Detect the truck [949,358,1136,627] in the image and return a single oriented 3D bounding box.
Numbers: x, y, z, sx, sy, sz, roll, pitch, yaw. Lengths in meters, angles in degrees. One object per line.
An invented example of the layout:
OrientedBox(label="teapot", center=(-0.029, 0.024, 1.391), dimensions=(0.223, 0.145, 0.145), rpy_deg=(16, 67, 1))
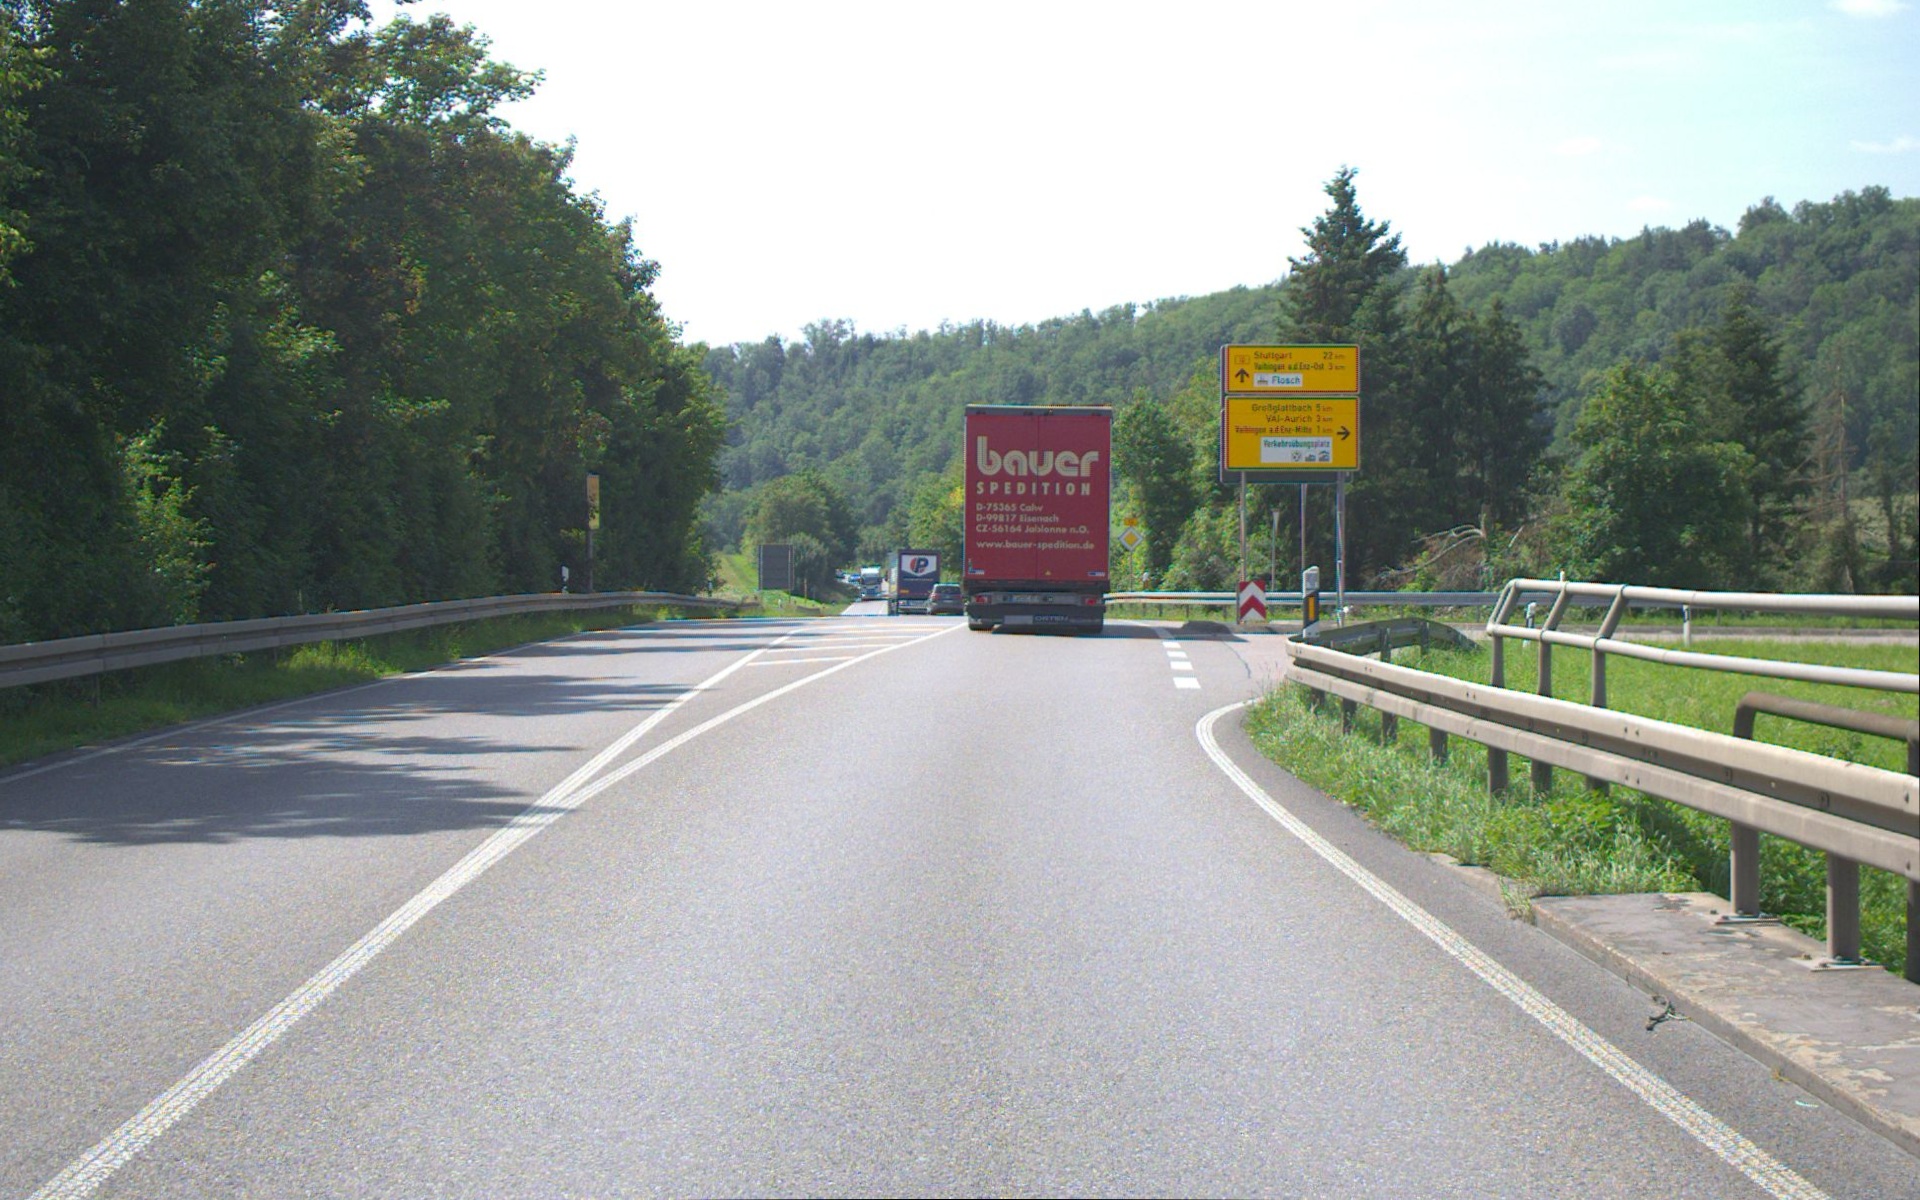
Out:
OrientedBox(label="truck", center=(1.557, -1.931, 65.879), dimensions=(3.172, 4.609, 13.543), rpy_deg=(1, 1, 1))

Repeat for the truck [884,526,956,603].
OrientedBox(label="truck", center=(-2.545, -2.103, 212.694), dimensions=(3.904, 4.355, 13.293), rpy_deg=(3, 0, -2))

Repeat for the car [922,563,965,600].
OrientedBox(label="car", center=(-0.900, -0.948, 181.657), dimensions=(1.993, 1.804, 4.000), rpy_deg=(3, -1, -2))
